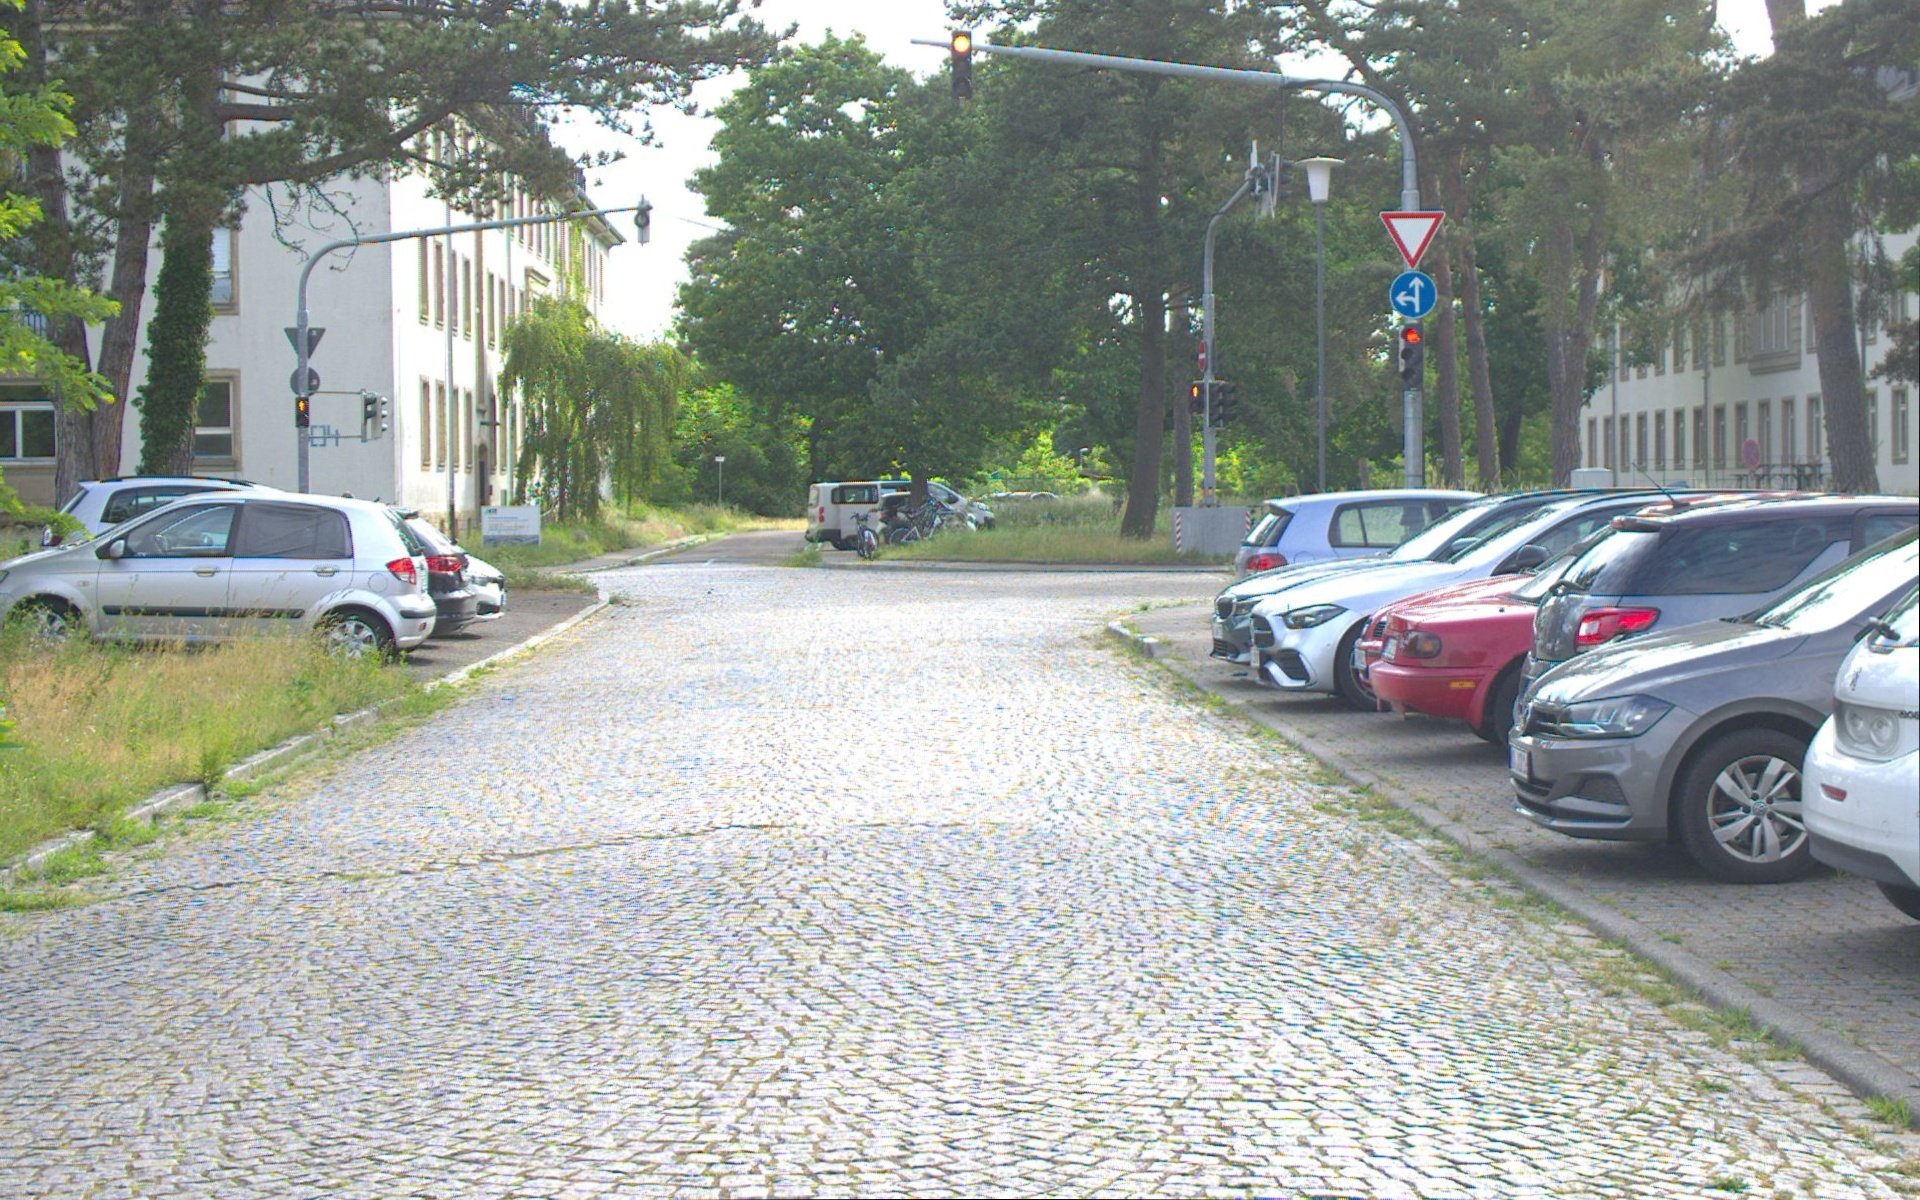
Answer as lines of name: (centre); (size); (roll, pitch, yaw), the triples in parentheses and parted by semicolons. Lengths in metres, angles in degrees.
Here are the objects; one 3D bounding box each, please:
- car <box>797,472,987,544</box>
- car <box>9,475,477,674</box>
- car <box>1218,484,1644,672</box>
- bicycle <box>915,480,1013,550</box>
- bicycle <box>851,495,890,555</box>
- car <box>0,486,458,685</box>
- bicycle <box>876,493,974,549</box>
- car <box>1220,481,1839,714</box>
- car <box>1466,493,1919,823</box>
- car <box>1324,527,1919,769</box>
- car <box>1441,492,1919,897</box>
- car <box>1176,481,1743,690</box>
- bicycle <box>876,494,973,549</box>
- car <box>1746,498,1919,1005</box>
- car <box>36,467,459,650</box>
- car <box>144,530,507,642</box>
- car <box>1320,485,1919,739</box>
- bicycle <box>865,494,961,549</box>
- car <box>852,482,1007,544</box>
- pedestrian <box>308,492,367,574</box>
car: (-1.916, -2.588, 96.272); (5.049, 2.006, 2.001); (0, 2, -12)
car: (-6.391, -0.267, 31.059); (3.986, 1.700, 2.001); (-1, 2, -8)
car: (4.033, -0.216, 29.621); (3.388, 1.538, 1.391); (-1, 2, -7)
bicycle: (0.088, -1.988, 79.796); (2.160, 1.610, 0.813); (0, 2, -8)
bicycle: (-1.939, -1.637, 74.697); (0.810, 1.264, 1.973); (0, 2, -1)
car: (-6.210, -0.151, 28.570); (3.986, 1.546, 2.001); (-1, 2, -8)
bicycle: (-0.799, -1.799, 78.482); (2.160, 1.264, 0.813); (0, 2, -8)
car: (3.964, -0.054, 24.234); (3.986, 1.538, 1.665); (-1, 2, -7)
car: (4.362, 0.230, 17.050); (3.291, 1.499, 1.665); (-1, 2, -12)
car: (3.898, 0.238, 19.757); (3.291, 1.263, 1.665); (-1, 2, -7)
car: (3.977, 0.316, 14.162); (3.597, 1.501, 1.665); (-1, 2, -12)
car: (3.884, -0.147, 27.047); (4.122, 1.538, 1.665); (-1, 2, -7)
bicycle: (-0.821, -1.812, 79.069); (2.160, 1.264, 0.813); (0, 2, -8)
car: (4.420, 0.416, 11.195); (3.292, 1.499, 1.664); (-1, 2, -3)
car: (-6.977, -0.435, 34.030); (3.986, 1.744, 1.928); (0, 2, -8)
car: (-6.639, -0.165, 36.283); (3.670, 1.090, 1.647); (-1, 2, -8)
car: (4.451, 0.040, 22.013); (3.986, 1.538, 1.664); (0, 2, -7)
bicycle: (-1.096, -1.841, 80.276); (2.160, 1.264, 0.813); (0, 2, -8)
car: (-0.850, -2.372, 93.024); (3.986, 1.638, 2.001); (0, 2, -7)
pedestrian: (-11.330, -1.226, 62.572); (0.898, 1.493, 0.904); (0, 2, -1)
